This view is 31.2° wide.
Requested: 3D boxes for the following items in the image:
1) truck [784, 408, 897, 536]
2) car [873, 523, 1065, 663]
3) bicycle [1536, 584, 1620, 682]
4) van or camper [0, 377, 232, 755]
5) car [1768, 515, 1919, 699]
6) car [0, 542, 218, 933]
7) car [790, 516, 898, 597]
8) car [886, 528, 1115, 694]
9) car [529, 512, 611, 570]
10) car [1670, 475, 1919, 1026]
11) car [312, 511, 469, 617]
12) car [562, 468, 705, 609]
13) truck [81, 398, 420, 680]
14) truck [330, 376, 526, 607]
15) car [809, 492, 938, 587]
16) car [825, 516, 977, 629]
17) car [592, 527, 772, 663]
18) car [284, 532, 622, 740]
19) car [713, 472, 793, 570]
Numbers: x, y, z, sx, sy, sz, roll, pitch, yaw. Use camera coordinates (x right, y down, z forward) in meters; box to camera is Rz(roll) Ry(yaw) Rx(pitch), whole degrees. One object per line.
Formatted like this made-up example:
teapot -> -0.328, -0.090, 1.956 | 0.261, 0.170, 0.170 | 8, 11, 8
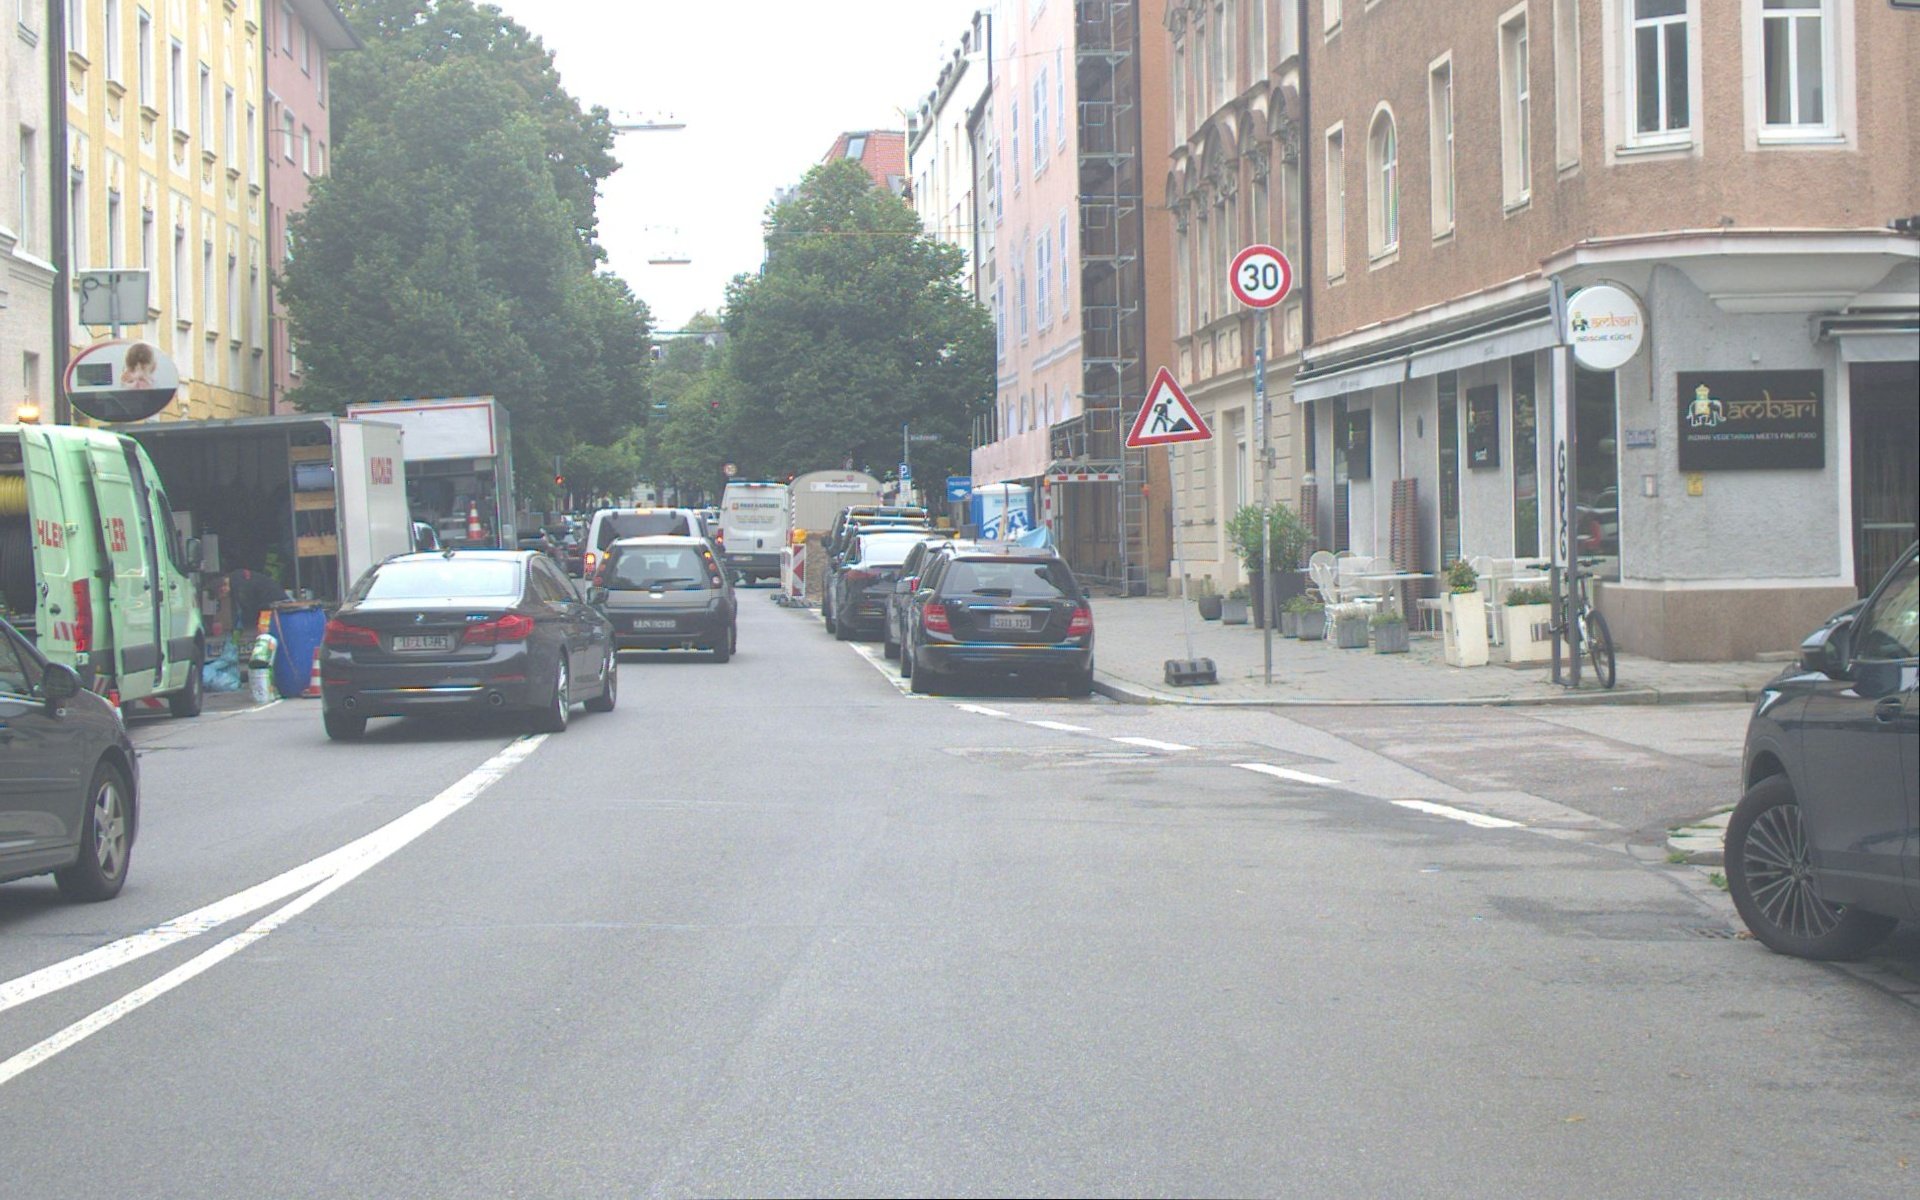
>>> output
truck -> -2.902, -3.034, 82.462 | 2.491, 2.963, 5.328 | -1, 1, -4
car -> 0.048, -0.120, 40.061 | 1.844, 1.424, 4.141 | 2, 2, -5
bicycle -> 5.359, 0.277, 29.862 | 0.456, 0.802, 1.327 | 0, 1, -1
van or camper -> -7.965, -0.352, 28.918 | 2.600, 2.830, 6.187 | -1, 2, -3
car -> 8.914, 0.025, 27.941 | 4.169, 1.424, 1.925 | -1, -1, -3
car -> -4.446, 0.529, 13.620 | 1.759, 1.456, 4.074 | -1, 1, 6
car -> -2.278, -0.859, 66.420 | 1.990, 1.424, 4.141 | -1, 2, -3
car -> 0.333, 0.060, 34.229 | 1.844, 1.424, 4.184 | 2, 2, -5
car -> -10.105, -1.537, 89.313 | 1.939, 1.443, 3.867 | -1, 1, -4
car -> 3.773, 0.408, 11.102 | 1.818, 1.673, 4.511 | -3, 1, -2
car -> -9.042, -0.604, 54.892 | 1.990, 1.605, 4.141 | -1, 1, -3
car -> -5.024, -0.993, 53.408 | 1.990, 2.068, 4.141 | -1, 2, -3
truck -> -7.921, -0.770, 39.270 | 2.773, 2.863, 7.203 | -1, 2, -4
truck -> -9.543, -1.942, 62.382 | 3.012, 3.938, 6.997 | -1, 1, -5
car -> -1.458, -1.024, 56.509 | 1.990, 1.424, 4.141 | -1, 2, -3
car -> -0.885, -0.424, 49.002 | 1.844, 1.424, 4.307 | 2, 2, -5
car -> -3.250, -0.095, 40.868 | 1.990, 1.424, 4.141 | -1, 2, -3
car -> -4.015, 0.220, 28.066 | 1.990, 1.424, 4.906 | -1, 2, 0
car -> -5.357, -2.055, 89.441 | 1.939, 2.471, 4.783 | -1, 1, -2
